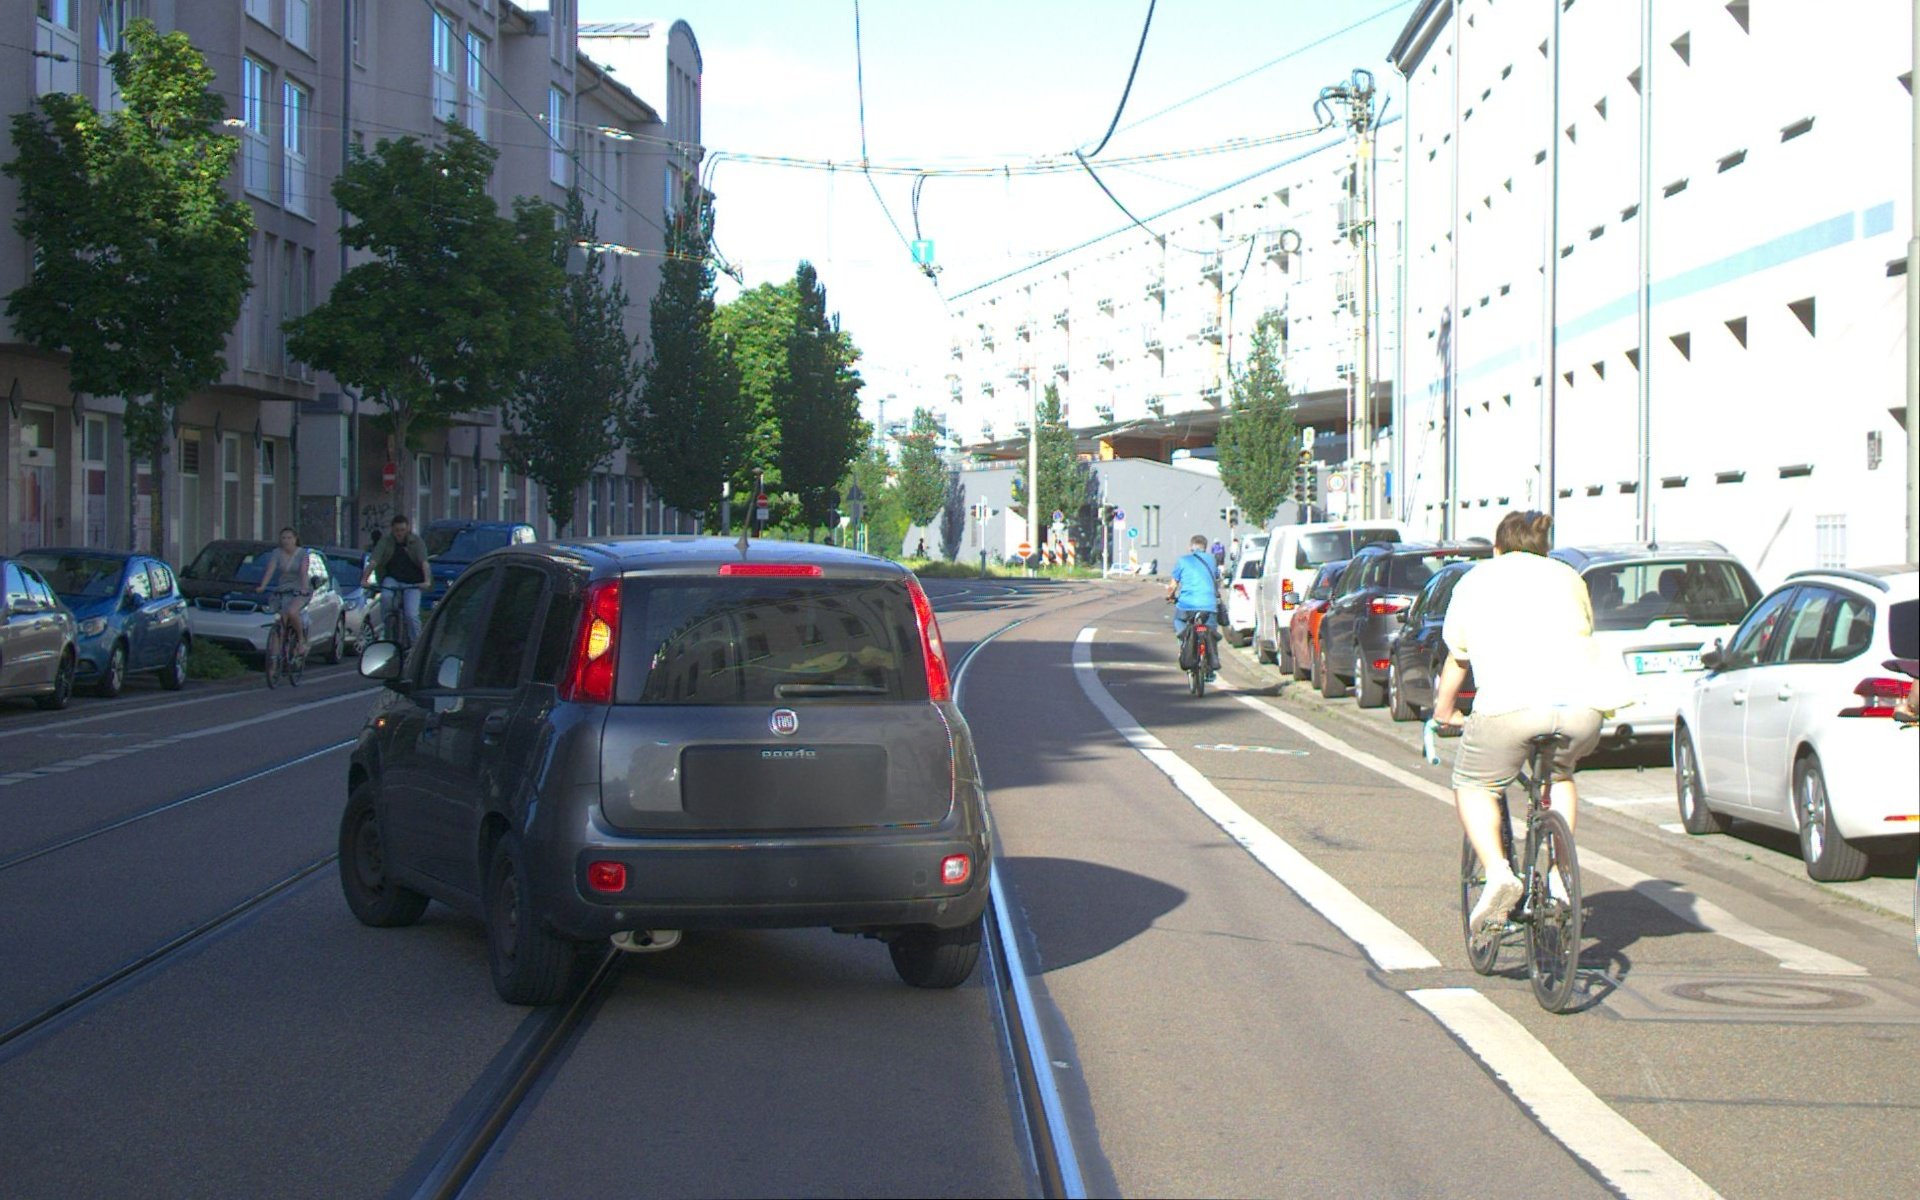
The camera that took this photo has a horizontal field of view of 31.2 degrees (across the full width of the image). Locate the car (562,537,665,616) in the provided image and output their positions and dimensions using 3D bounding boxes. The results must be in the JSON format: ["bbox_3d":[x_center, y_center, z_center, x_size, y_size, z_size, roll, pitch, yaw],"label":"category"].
[{"bbox_3d":[-7.314,-0.523,72.859,1.665,1.612,4.000,1,1,1],"label":"car"}]

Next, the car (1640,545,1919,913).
[{"bbox_3d":[4.726,0.525,17.209,1.679,1.565,4.510,-1,1,-1],"label":"car"}]

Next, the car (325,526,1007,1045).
[{"bbox_3d":[-1.190,0.563,12.295,1.556,1.528,3.487,-2,0,-19],"label":"car"}]

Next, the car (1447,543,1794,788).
[{"bbox_3d":[4.705,0.406,25.014,1.754,1.565,3.904,-3,1,1],"label":"car"}]

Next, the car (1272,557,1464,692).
[{"bbox_3d":[4.731,0.253,40.300,1.795,1.478,3.779,1,1,0],"label":"car"}]

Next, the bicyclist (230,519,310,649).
[{"bbox_3d":[-7.599,-0.179,37.886,0.623,1.376,0.868,-4,1,-1],"label":"bicyclist"}]

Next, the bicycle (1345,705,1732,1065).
[{"bbox_3d":[1.926,0.915,11.923,0.738,0.921,2.837,4,1,-1],"label":"bicycle"}]

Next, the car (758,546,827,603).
[{"bbox_3d":[-5.006,-0.784,102.991,1.844,1.640,3.697,1,1,0],"label":"car"}]

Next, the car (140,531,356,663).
[{"bbox_3d":[-9.062,-0.073,44.060,1.830,1.588,4.000,1,1,1],"label":"car"}]

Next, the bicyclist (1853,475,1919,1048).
[{"bbox_3d":[3.268,0.472,10.203,0.934,1.670,0.970,1,1,-1],"label":"bicyclist"}]

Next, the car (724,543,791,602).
[{"bbox_3d":[-5.427,-0.758,92.526,1.591,1.535,3.191,1,1,0],"label":"car"}]

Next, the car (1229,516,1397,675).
[{"bbox_3d":[4.579,-0.095,45.098,1.786,1.964,4.154,-1,1,1],"label":"car"}]

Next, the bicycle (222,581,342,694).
[{"bbox_3d":[-7.505,0.398,38.143,0.839,1.145,2.233,-4,1,-1],"label":"bicycle"}]

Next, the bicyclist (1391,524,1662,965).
[{"bbox_3d":[1.943,0.472,11.922,0.727,1.457,1.021,1,1,-1],"label":"bicyclist"}]

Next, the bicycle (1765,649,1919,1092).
[{"bbox_3d":[3.207,0.819,10.486,0.821,1.232,2.462,2,1,-1],"label":"bicycle"}]

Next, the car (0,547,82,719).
[{"bbox_3d":[-9.099,0.250,30.175,1.744,1.438,4.000,3,1,-1],"label":"car"}]

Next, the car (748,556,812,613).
[{"bbox_3d":[-5.050,-0.446,96.593,1.591,1.535,3.191,1,1,0],"label":"car"}]

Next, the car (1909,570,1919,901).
[{"bbox_3d":[4.932,0.614,12.878,1.513,1.426,4.202,0,1,-1],"label":"car"}]

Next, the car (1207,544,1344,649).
[{"bbox_3d":[5.146,-0.095,56.575,1.844,1.640,4.549,1,1,0],"label":"car"}]

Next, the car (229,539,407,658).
[{"bbox_3d":[-9.078,-0.057,48.869,1.829,1.588,4.000,1,1,-1],"label":"car"}]

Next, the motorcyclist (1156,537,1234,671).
[{"bbox_3d":[2.503,0.037,36.712,0.727,1.401,1.021,1,1,-1],"label":"motorcyclist"}]

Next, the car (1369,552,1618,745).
[{"bbox_3d":[4.610,0.371,30.181,1.591,1.532,4.007,-1,1,1],"label":"car"}]

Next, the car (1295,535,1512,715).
[{"bbox_3d":[4.490,0.206,35.273,1.660,1.664,3.904,-3,1,0],"label":"car"}]

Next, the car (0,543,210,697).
[{"bbox_3d":[-9.209,0.171,36.084,1.829,1.484,4.000,-1,1,-1],"label":"car"}]
